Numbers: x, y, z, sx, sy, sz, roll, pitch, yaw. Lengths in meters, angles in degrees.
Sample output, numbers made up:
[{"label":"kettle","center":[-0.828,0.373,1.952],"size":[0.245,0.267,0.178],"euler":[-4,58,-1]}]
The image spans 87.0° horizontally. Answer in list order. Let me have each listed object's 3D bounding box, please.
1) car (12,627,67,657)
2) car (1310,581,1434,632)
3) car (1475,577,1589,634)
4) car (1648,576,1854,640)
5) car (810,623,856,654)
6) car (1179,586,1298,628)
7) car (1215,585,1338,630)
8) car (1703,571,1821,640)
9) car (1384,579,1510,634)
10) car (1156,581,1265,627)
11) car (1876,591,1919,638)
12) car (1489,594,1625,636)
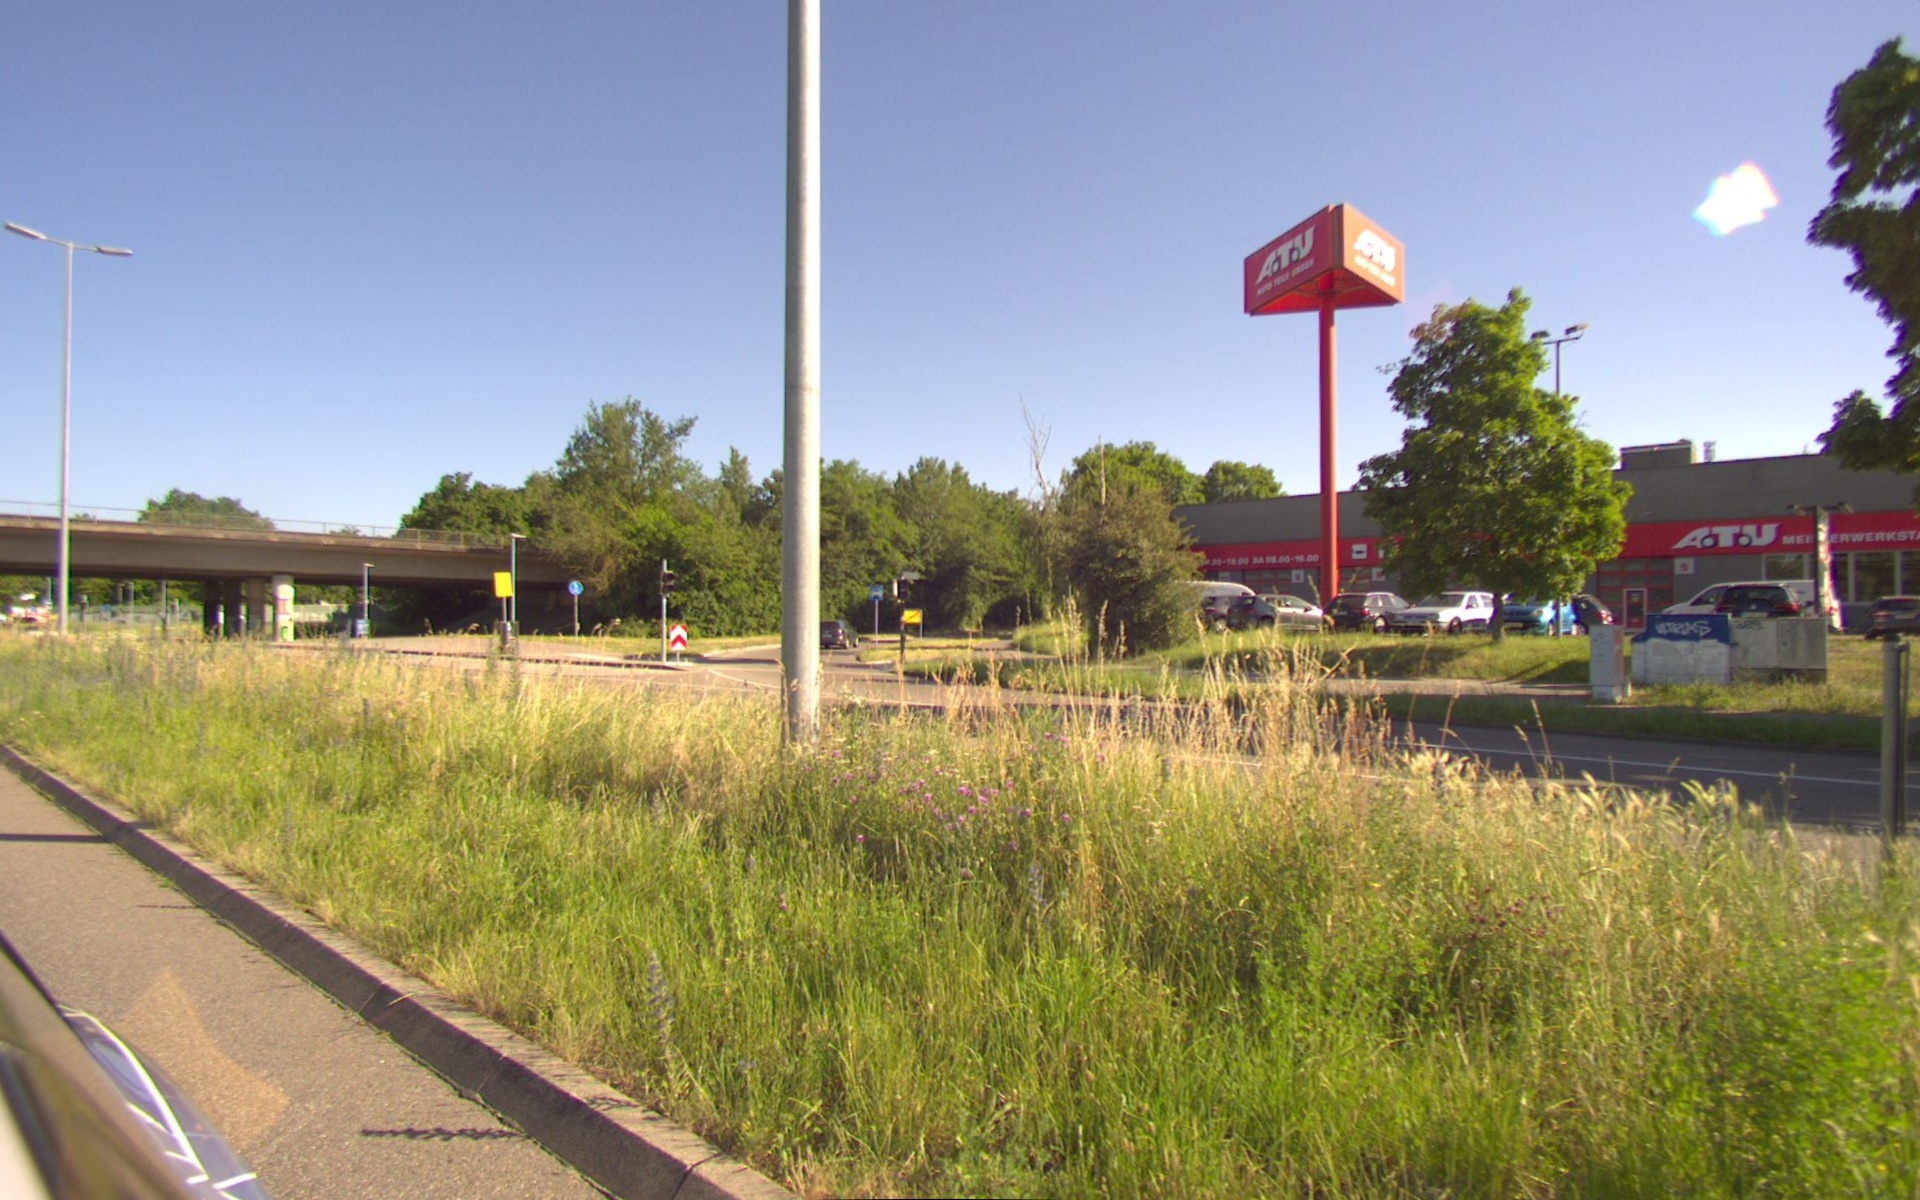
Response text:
[{"label":"car","center":[-47.465,2.125,52.149],"size":[4.101,1.455,1.615],"euler":[-1,-2,41]},{"label":"car","center":[13.493,0.243,33.080],"size":[4.064,1.563,1.900],"euler":[1,-2,-37]},{"label":"car","center":[16.693,0.194,29.463],"size":[4.070,1.563,1.820],"euler":[1,-2,-44]},{"label":"car","center":[25.808,0.301,33.171],"size":[5.132,1.971,1.759],"euler":[-1,-2,45]},{"label":"car","center":[-6.380,1.909,51.277],"size":[1.761,1.436,4.381],"euler":[1,-1,0]},{"label":"car","center":[10.801,0.287,39.290],"size":[4.060,1.563,1.901],"euler":[0,-1,-18]},{"label":"car","center":[11.373,0.293,36.362],"size":[4.060,1.563,1.901],"euler":[1,-2,-27]},{"label":"car","center":[20.020,0.178,25.207],"size":[1.947,1.563,4.072],"euler":[-1,-2,43]},{"label":"car","center":[15.029,0.234,31.170],"size":[4.065,1.563,1.899],"euler":[1,-2,-39]},{"label":"car","center":[12.195,0.210,49.498],"size":[4.989,2.168,1.890],"euler":[0,-1,9]},{"label":"car","center":[31.588,0.487,33.441],"size":[1.896,1.466,4.073],"euler":[-1,-2,43]},{"label":"car","center":[21.640,0.565,36.758],"size":[3.983,1.466,1.760],"euler":[-1,-2,42]}]
